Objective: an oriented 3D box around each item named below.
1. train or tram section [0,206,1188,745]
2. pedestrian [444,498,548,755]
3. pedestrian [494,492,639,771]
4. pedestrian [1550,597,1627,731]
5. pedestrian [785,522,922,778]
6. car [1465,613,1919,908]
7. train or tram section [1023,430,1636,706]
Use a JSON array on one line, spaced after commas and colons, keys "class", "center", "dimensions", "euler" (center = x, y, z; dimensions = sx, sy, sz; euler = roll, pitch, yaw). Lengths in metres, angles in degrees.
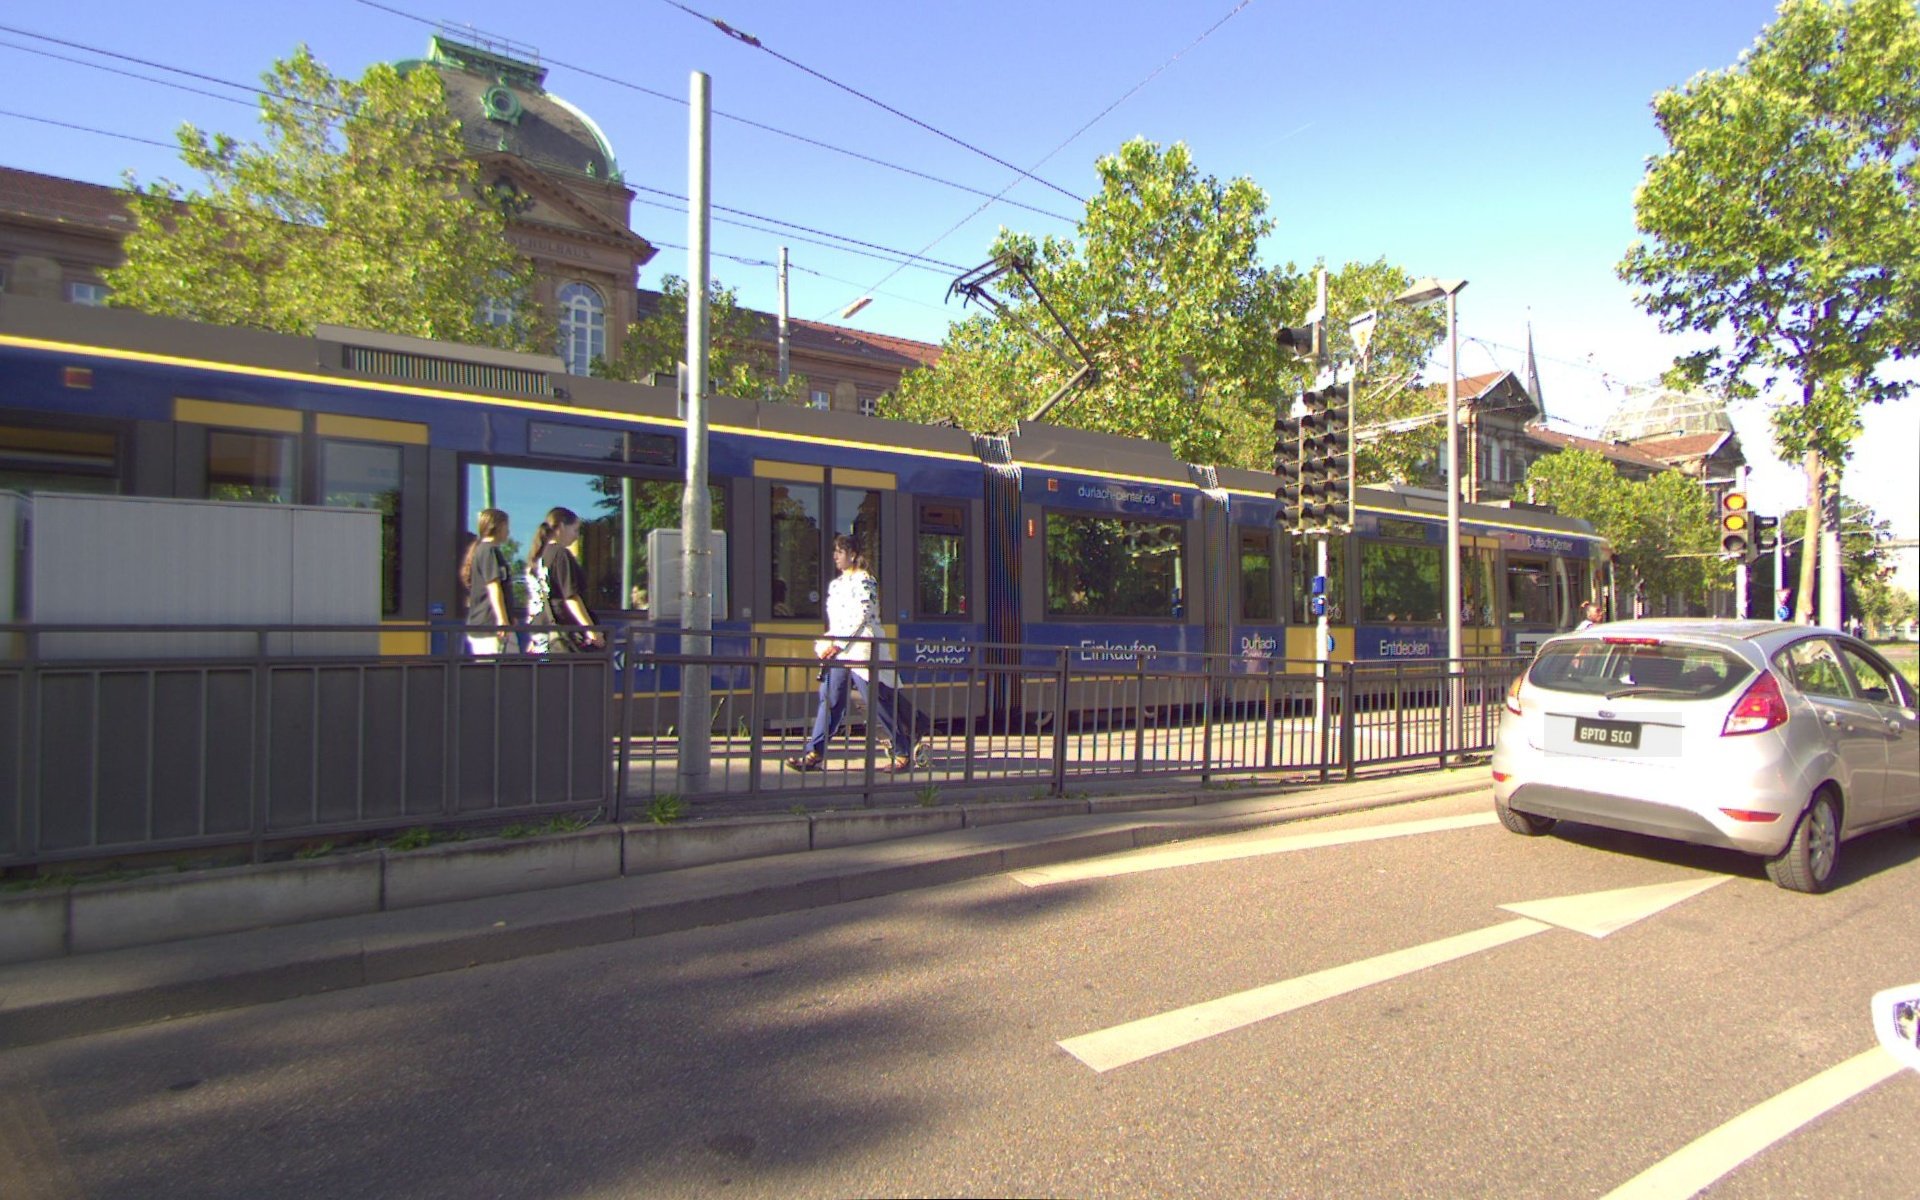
[{"class": "train or tram section", "center": [-4.609, -0.691, 8.804], "dimensions": [15.730, 3.303, 2.896], "euler": [3, 0, -34]}, {"class": "pedestrian", "center": [-3.312, 0.185, 7.157], "dimensions": [0.541, 1.724, 0.604], "euler": [1, -2, -37]}, {"class": "pedestrian", "center": [-2.618, 0.204, 6.683], "dimensions": [0.740, 1.724, 0.628], "euler": [1, -2, -38]}, {"class": "pedestrian", "center": [7.691, 0.764, 12.292], "dimensions": [0.641, 1.577, 0.626], "euler": [1, -1, -38]}, {"class": "pedestrian", "center": [-0.732, 0.343, 6.895], "dimensions": [0.635, 1.640, 0.635], "euler": [4, -3, -37]}, {"class": "car", "center": [5.145, 0.844, 6.617], "dimensions": [3.592, 1.428, 1.651], "euler": [2, 0, -33]}, {"class": "train or tram section", "center": [7.056, -0.172, 17.011], "dimensions": [12.985, 3.303, 2.895], "euler": [3, 0, -36]}]
